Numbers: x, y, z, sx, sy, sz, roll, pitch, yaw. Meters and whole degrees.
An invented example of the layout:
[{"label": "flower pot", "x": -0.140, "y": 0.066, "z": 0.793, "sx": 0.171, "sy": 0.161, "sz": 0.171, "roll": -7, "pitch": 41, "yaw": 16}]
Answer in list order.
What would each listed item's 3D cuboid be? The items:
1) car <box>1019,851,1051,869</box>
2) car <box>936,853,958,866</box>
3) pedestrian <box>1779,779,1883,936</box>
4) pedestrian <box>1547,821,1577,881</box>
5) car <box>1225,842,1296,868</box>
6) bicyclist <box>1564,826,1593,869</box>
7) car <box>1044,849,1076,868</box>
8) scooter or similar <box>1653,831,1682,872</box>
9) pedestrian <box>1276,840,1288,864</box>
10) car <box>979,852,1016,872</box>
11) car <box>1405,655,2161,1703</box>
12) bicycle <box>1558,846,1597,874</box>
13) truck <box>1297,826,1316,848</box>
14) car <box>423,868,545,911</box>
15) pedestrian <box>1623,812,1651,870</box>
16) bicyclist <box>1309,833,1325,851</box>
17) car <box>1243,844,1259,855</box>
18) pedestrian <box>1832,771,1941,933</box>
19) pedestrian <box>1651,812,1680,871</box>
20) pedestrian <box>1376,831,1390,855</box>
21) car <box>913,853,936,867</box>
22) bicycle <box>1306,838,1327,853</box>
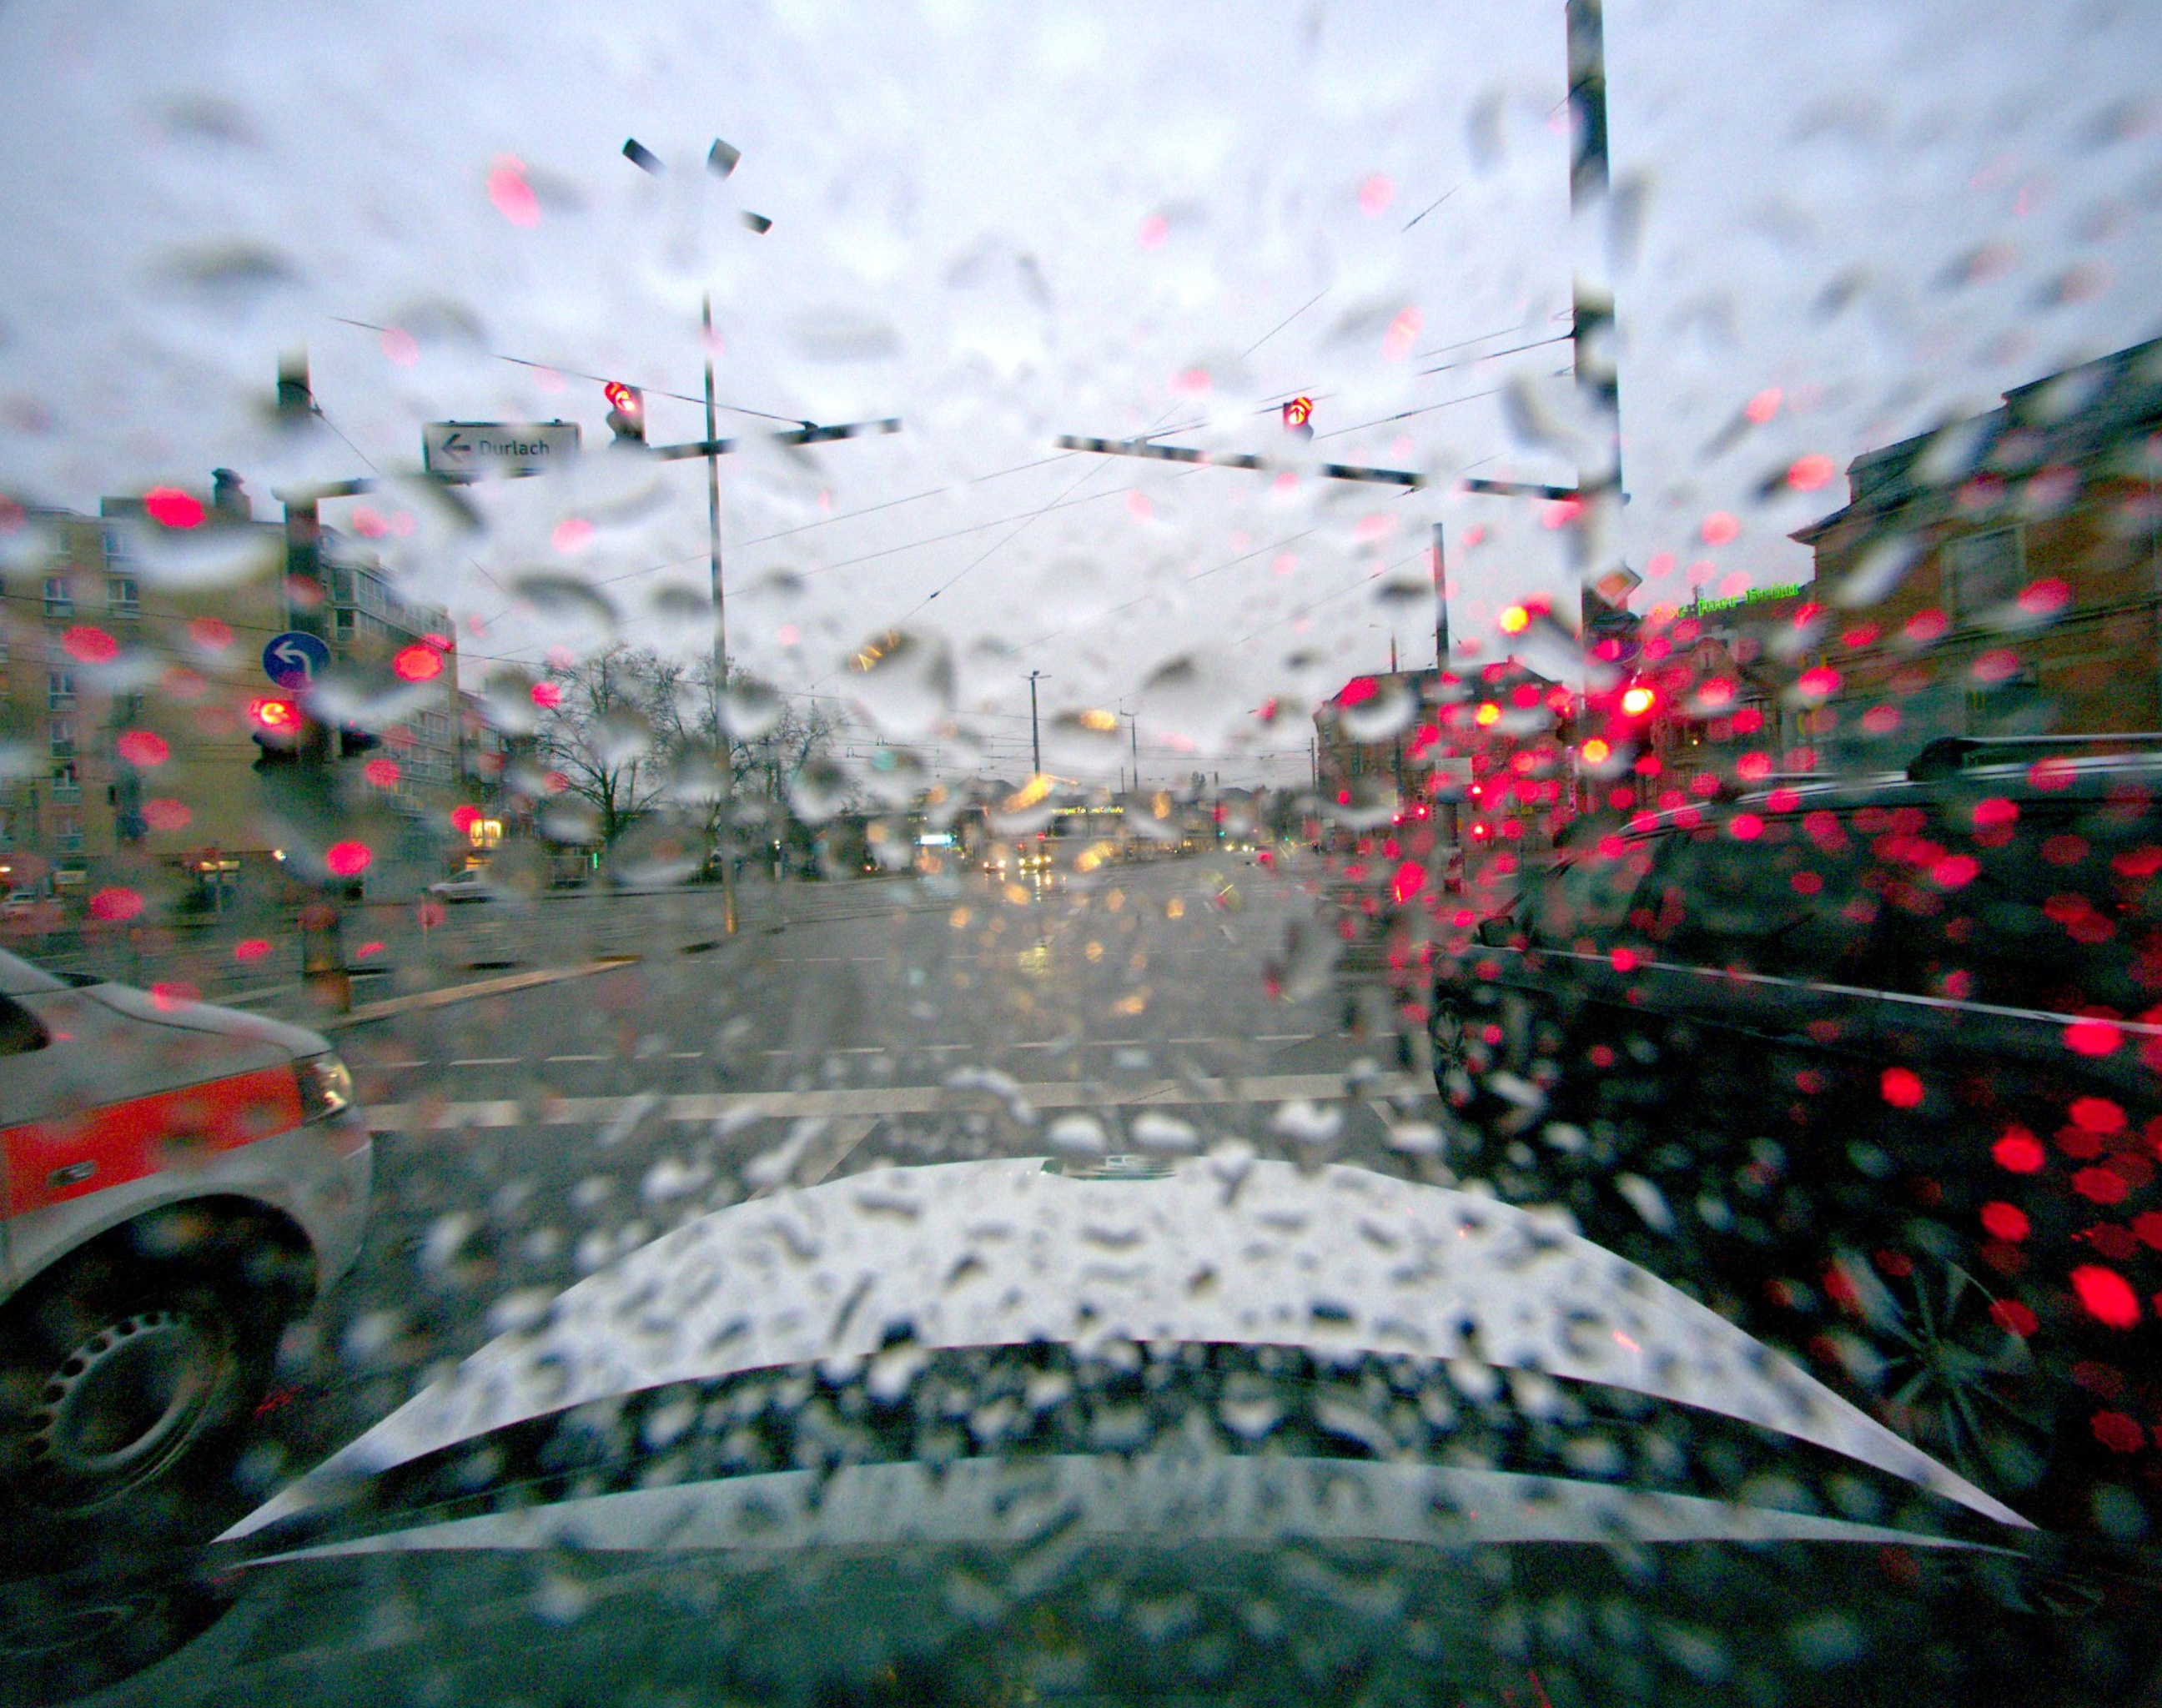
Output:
[{"label": "car", "x": -3.997, "y": 0.468, "z": 71.085, "sx": 1.801, "sy": 1.446, "sz": 4.013, "roll": -3, "pitch": 0, "yaw": 11}, {"label": "car", "x": -16.810, "y": 0.682, "z": 102.380, "sx": 1.854, "sy": 1.601, "sz": 4.004, "roll": -3, "pitch": 0, "yaw": 4}, {"label": "pedestrian", "x": 9.642, "y": 0.028, "z": 10.508, "sx": 0.800, "sy": 1.929, "sz": 0.765, "roll": -1, "pitch": 2, "yaw": 26}, {"label": "pedestrian", "x": 16.145, "y": -0.098, "z": 27.339, "sx": 0.669, "sy": 1.950, "sz": 0.681, "roll": -3, "pitch": -1, "yaw": 40}, {"label": "car", "x": 12.933, "y": 0.074, "z": 58.841, "sx": 1.750, "sy": 1.657, "sz": 4.754, "roll": -2, "pitch": 0, "yaw": -44}, {"label": "bicyclist", "x": 18.718, "y": -0.252, "z": 30.646, "sx": 0.783, "sy": 1.575, "sz": 0.687, "roll": -2, "pitch": 0, "yaw": -43}, {"label": "car", "x": -1.694, "y": 0.330, "z": 67.708, "sx": 1.801, "sy": 1.446, "sz": 4.013, "roll": -3, "pitch": 0, "yaw": 11}, {"label": "scooter or similar", "x": 19.458, "y": -0.086, "z": 27.014, "sx": 0.669, "sy": 1.317, "sz": 0.832, "roll": -3, "pitch": 0, "yaw": 32}, {"label": "pedestrian", "x": 16.285, "y": -0.162, "z": 66.049, "sx": 0.595, "sy": 1.840, "sz": 0.612, "roll": -3, "pitch": 0, "yaw": -33}, {"label": "car", "x": -6.566, "y": 0.583, "z": 64.473, "sx": 1.801, "sy": 1.446, "sz": 4.013, "roll": -3, "pitch": 0, "yaw": 11}, {"label": "car", "x": 2.844, "y": 0.523, "z": 3.015, "sx": 1.770, "sy": 1.800, "sz": 4.429, "roll": -1, "pitch": 1, "yaw": 4}, {"label": "bicycle", "x": 18.678, "y": 0.214, "z": 30.620, "sx": 2.025, "sy": 0.980, "sz": 0.687, "roll": -3, "pitch": 0, "yaw": -43}, {"label": "truck", "x": 29.650, "y": -2.236, "z": 107.089, "sx": 1.977, "sy": 2.691, "sz": 5.140, "roll": -3, "pitch": 0, "yaw": 19}, {"label": "car", "x": -29.395, "y": 1.753, "z": 40.246, "sx": 4.416, "sy": 2.014, "sz": 1.898, "roll": 0, "pitch": -4, "yaw": -19}, {"label": "pedestrian", "x": 19.152, "y": -0.448, "z": 28.057, "sx": 0.669, "sy": 1.950, "sz": 0.666, "roll": -3, "pitch": 0, "yaw": 29}, {"label": "bicyclist", "x": 23.904, "y": -1.210, "z": 82.374, "sx": 1.053, "sy": 1.768, "sz": 1.062, "roll": -3, "pitch": 0, "yaw": -28}, {"label": "car", "x": 27.056, "y": -0.753, "z": 129.647, "sx": 1.847, "sy": 1.601, "sz": 3.805, "roll": -3, "pitch": 0, "yaw": 20}, {"label": "pedestrian", "x": 10.515, "y": -0.039, "z": 10.668, "sx": 0.800, "sy": 2.013, "sz": 0.765, "roll": -1, "pitch": 2, "yaw": 26}, {"label": "pedestrian", "x": 19.848, "y": -0.411, "z": 27.659, "sx": 0.669, "sy": 1.950, "sz": 0.666, "roll": -3, "pitch": 0, "yaw": 32}, {"label": "pedestrian", "x": 25.621, "y": -0.926, "z": 69.138, "sx": 0.732, "sy": 2.013, "sz": 0.782, "roll": -2, "pitch": 0, "yaw": -27}, {"label": "car", "x": -19.704, "y": 0.772, "z": 102.554, "sx": 1.854, "sy": 1.601, "sz": 4.004, "roll": -3, "pitch": 0, "yaw": 4}, {"label": "bicycle", "x": 23.817, "y": -0.865, "z": 82.285, "sx": 0.699, "sy": 1.376, "sz": 2.188, "roll": -2, "pitch": 0, "yaw": -27}]
